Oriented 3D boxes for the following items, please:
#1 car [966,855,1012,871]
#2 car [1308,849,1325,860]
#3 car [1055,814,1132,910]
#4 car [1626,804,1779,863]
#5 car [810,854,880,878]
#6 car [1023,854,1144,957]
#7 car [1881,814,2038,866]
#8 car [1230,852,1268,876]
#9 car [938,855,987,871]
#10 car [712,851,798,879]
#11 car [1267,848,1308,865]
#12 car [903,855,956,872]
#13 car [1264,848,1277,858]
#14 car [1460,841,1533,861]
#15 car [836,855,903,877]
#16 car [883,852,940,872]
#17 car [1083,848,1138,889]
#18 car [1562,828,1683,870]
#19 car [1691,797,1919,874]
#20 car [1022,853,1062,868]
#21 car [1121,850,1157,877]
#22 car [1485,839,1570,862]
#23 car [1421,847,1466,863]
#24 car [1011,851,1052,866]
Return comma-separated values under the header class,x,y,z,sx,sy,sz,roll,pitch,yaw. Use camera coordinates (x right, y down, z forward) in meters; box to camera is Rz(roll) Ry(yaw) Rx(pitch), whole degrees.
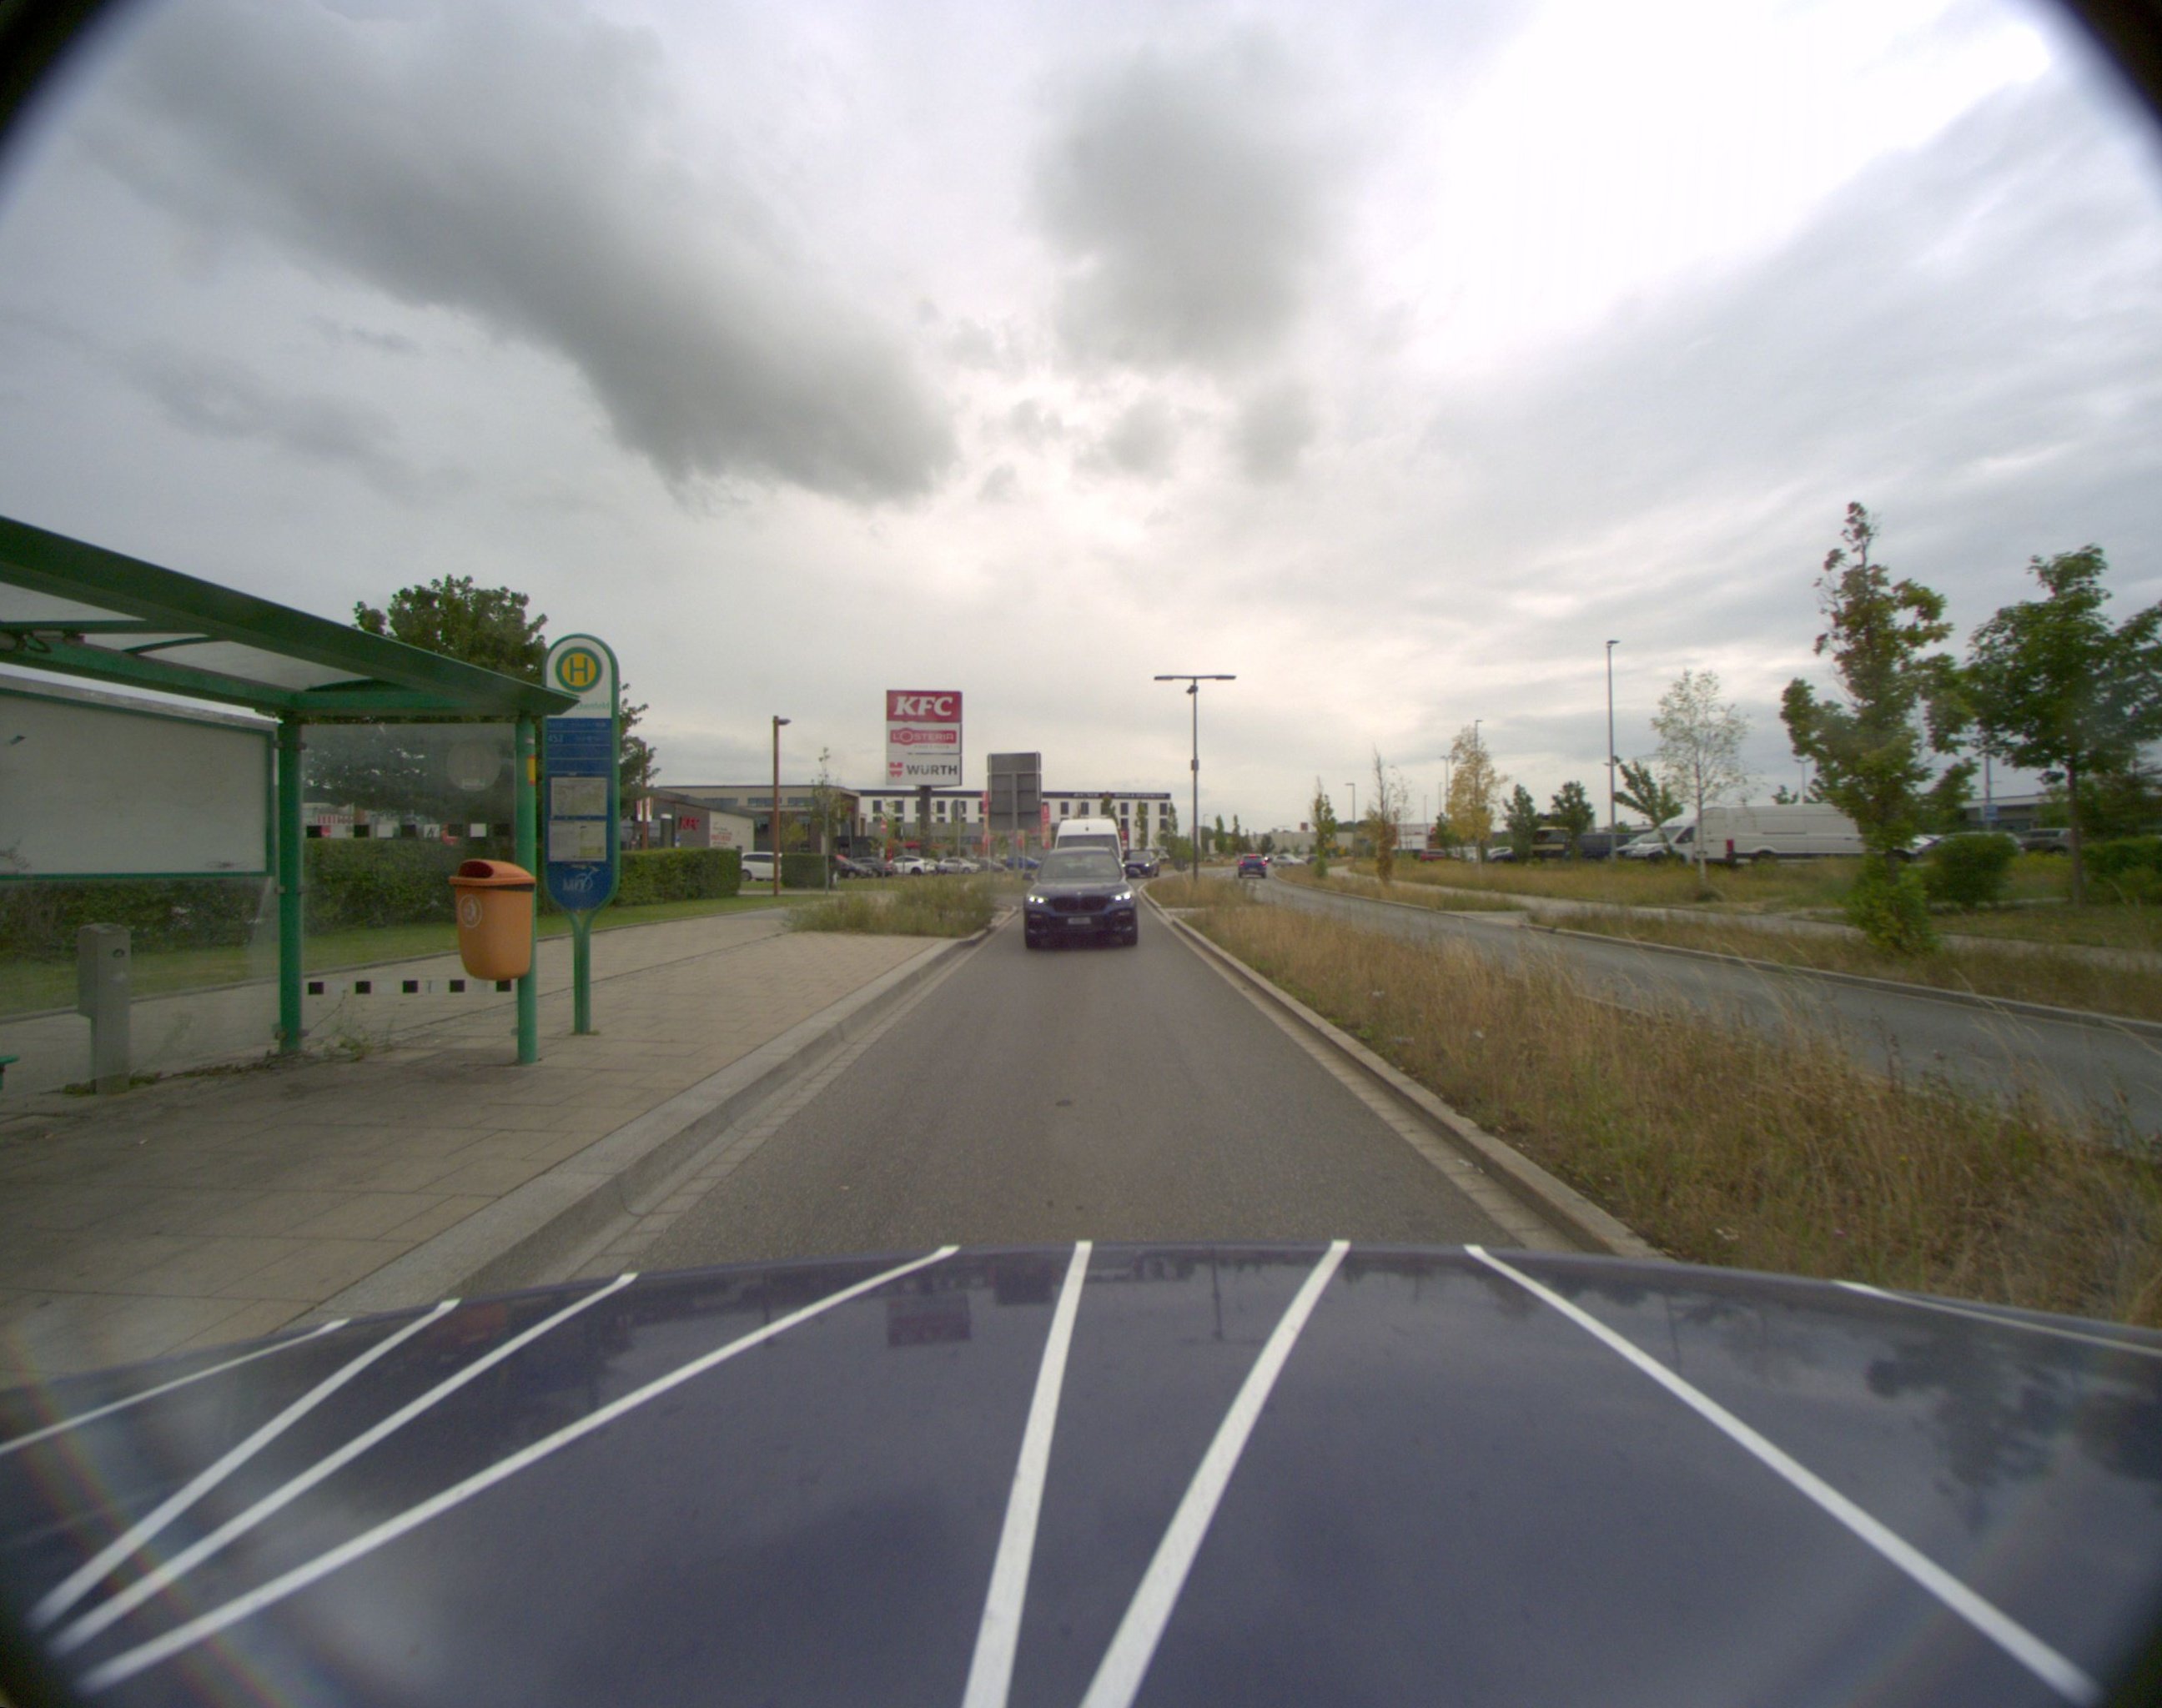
class,x,y,z,sx,sy,sz,roll,pitch,yaw
car,-8.879,0.860,73.717,3.993,1.477,1.849,0,0,13
car,31.856,0.043,102.682,1.730,1.484,4.007,0,0,24
car,0.341,0.225,22.985,2.026,2.513,6.105,0,0,0
car,27.684,-0.891,33.965,5.053,2.359,2.064,-2,1,1
car,-15.479,0.773,49.886,3.994,1.477,1.848,0,0,9
car,0.044,0.805,13.801,1.867,1.598,4.000,0,0,0
car,43.792,-0.701,38.104,2.063,2.359,5.057,-2,1,1
car,11.108,0.623,50.482,1.733,1.504,4.000,0,0,1
car,-10.795,0.800,69.194,3.993,1.477,1.849,0,0,13
car,-18.173,0.625,42.527,3.996,1.519,1.847,0,0,2
car,22.948,0.296,84.612,2.003,1.660,3.991,-2,-1,-32
car,-12.902,0.806,64.682,3.994,1.477,1.848,0,0,9
car,32.311,-0.192,129.461,1.997,1.565,4.003,-2,1,12
car,34.999,-0.256,64.137,5.049,1.646,2.066,0,0,11
car,-14.608,0.789,52.569,3.994,1.477,1.848,0,0,9
car,-13.244,0.642,59.454,3.994,1.513,1.848,0,0,9
car,1.371,0.637,33.598,1.997,1.660,4.003,-2,-1,8
car,29.629,-0.252,41.753,5.050,2.210,2.066,0,0,8
car,27.556,-0.700,29.120,6.413,2.609,2.065,-2,1,5
car,-4.308,0.746,84.729,3.992,1.477,1.849,-2,1,18
car,3.893,0.662,50.569,1.860,1.660,4.004,-2,-1,11
car,33.194,-0.261,56.665,5.049,1.646,2.066,0,0,11
car,36.836,0.132,77.165,3.989,1.455,1.739,-2,1,30
car,-5.356,0.524,82.822,3.992,1.477,1.849,-2,1,18
